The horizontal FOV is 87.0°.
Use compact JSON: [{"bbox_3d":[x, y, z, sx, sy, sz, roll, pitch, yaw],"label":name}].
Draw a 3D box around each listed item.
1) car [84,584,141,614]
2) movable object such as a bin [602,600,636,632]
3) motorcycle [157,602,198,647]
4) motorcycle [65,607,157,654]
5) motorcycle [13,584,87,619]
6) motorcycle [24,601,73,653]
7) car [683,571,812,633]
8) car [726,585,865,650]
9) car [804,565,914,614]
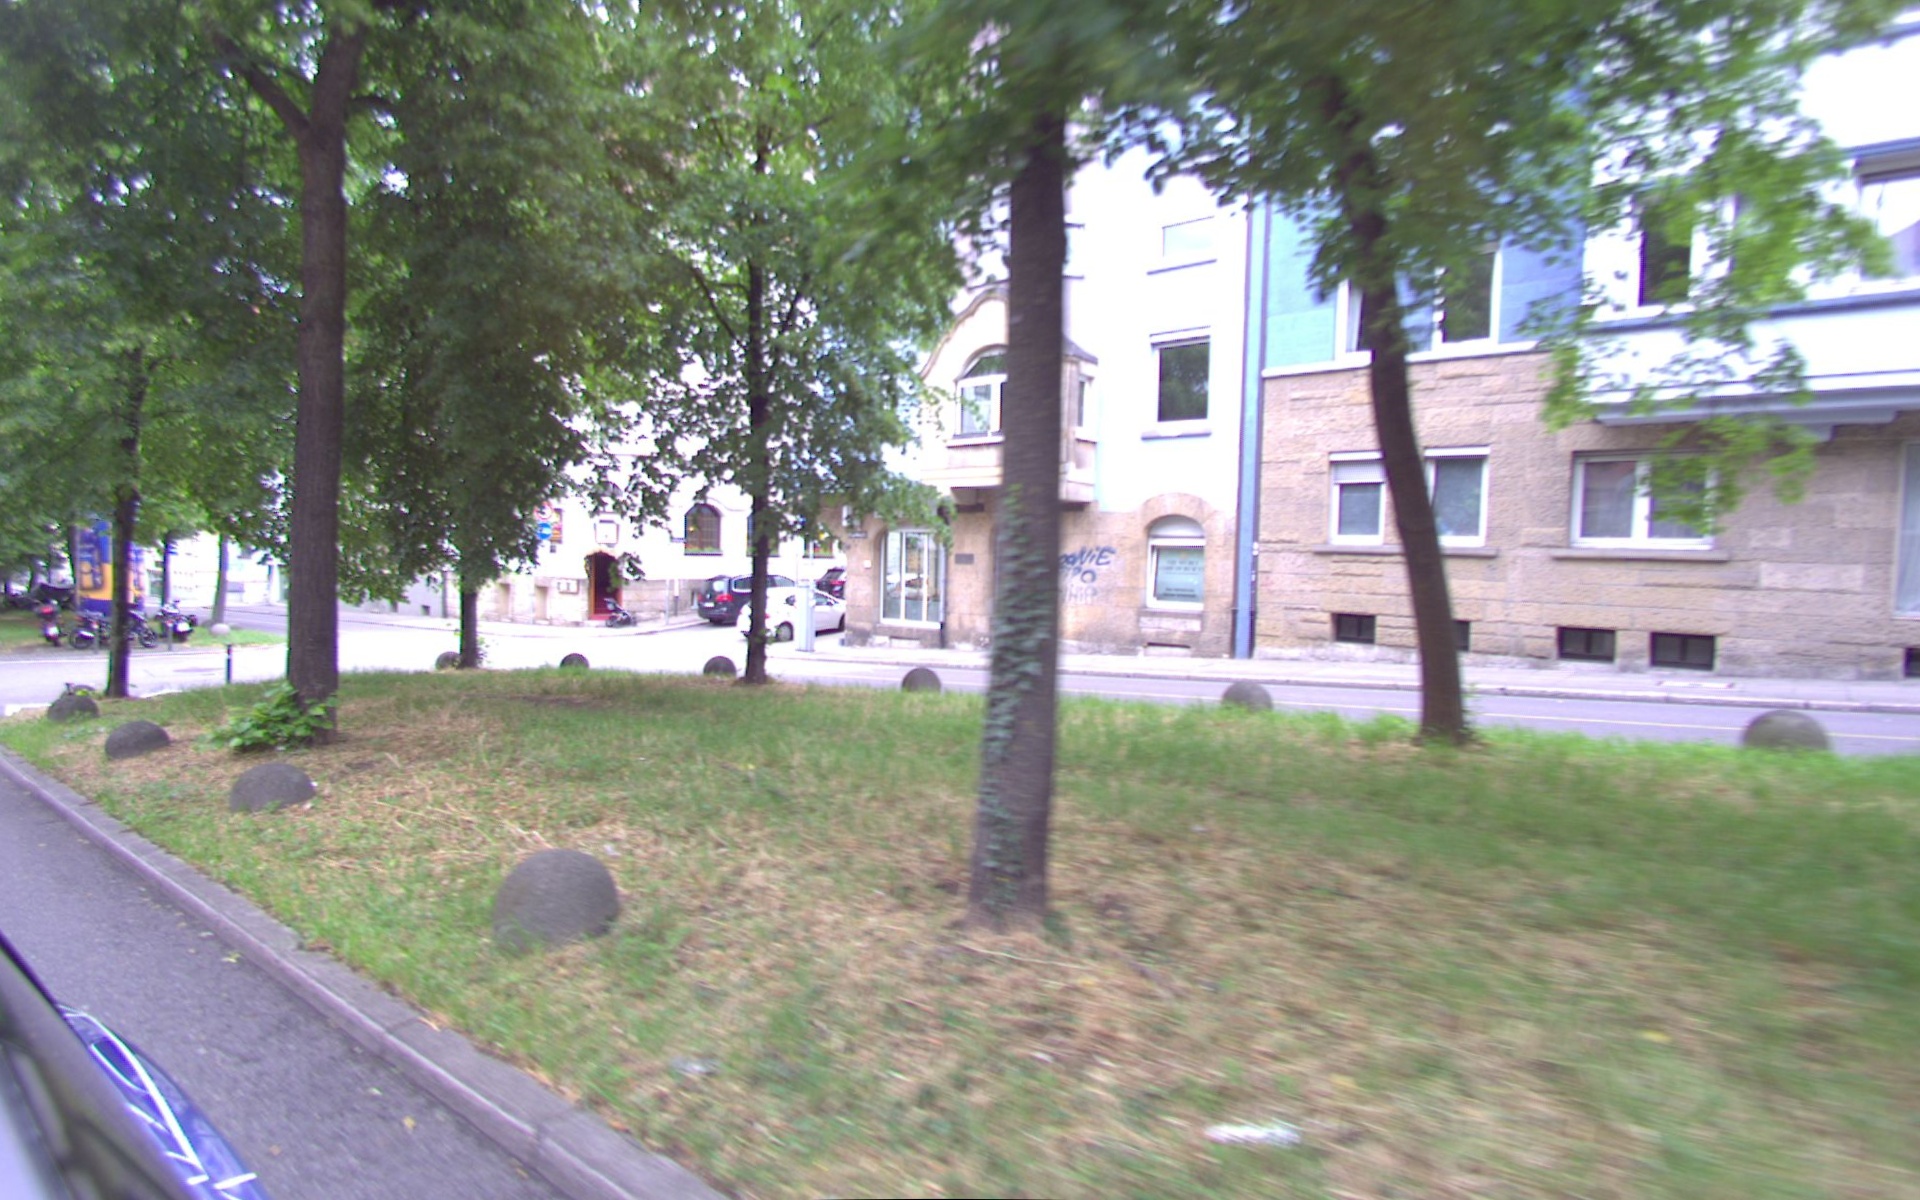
[{"bbox_3d":[-46.727,-0.067,55.747,4.415,1.575,1.794,0,1,42],"label":"car"},{"bbox_3d":[-11.618,0.532,34.496,0.667,1.001,0.877,1,3,39],"label":"movable object such as a bin"},{"bbox_3d":[-21.340,0.656,27.594,0.740,1.081,1.854,-1,3,-42],"label":"motorcycle"},{"bbox_3d":[-21.137,0.740,25.209,0.551,1.104,1.712,3,2,44],"label":"motorcycle"},{"bbox_3d":[-41.684,0.070,46.383,0.963,1.494,2.393,4,2,41],"label":"motorcycle"},{"bbox_3d":[-23.038,0.655,25.582,0.876,1.104,2.484,-1,3,-42],"label":"motorcycle"},{"bbox_3d":[-7.291,0.010,35.004,1.871,1.712,3.957,1,6,41],"label":"car"},{"bbox_3d":[-4.922,0.464,30.740,1.869,1.480,3.961,3,7,38],"label":"car"},{"bbox_3d":[-3.852,-0.450,39.150,1.801,1.521,3.944,2,7,44],"label":"car"}]
